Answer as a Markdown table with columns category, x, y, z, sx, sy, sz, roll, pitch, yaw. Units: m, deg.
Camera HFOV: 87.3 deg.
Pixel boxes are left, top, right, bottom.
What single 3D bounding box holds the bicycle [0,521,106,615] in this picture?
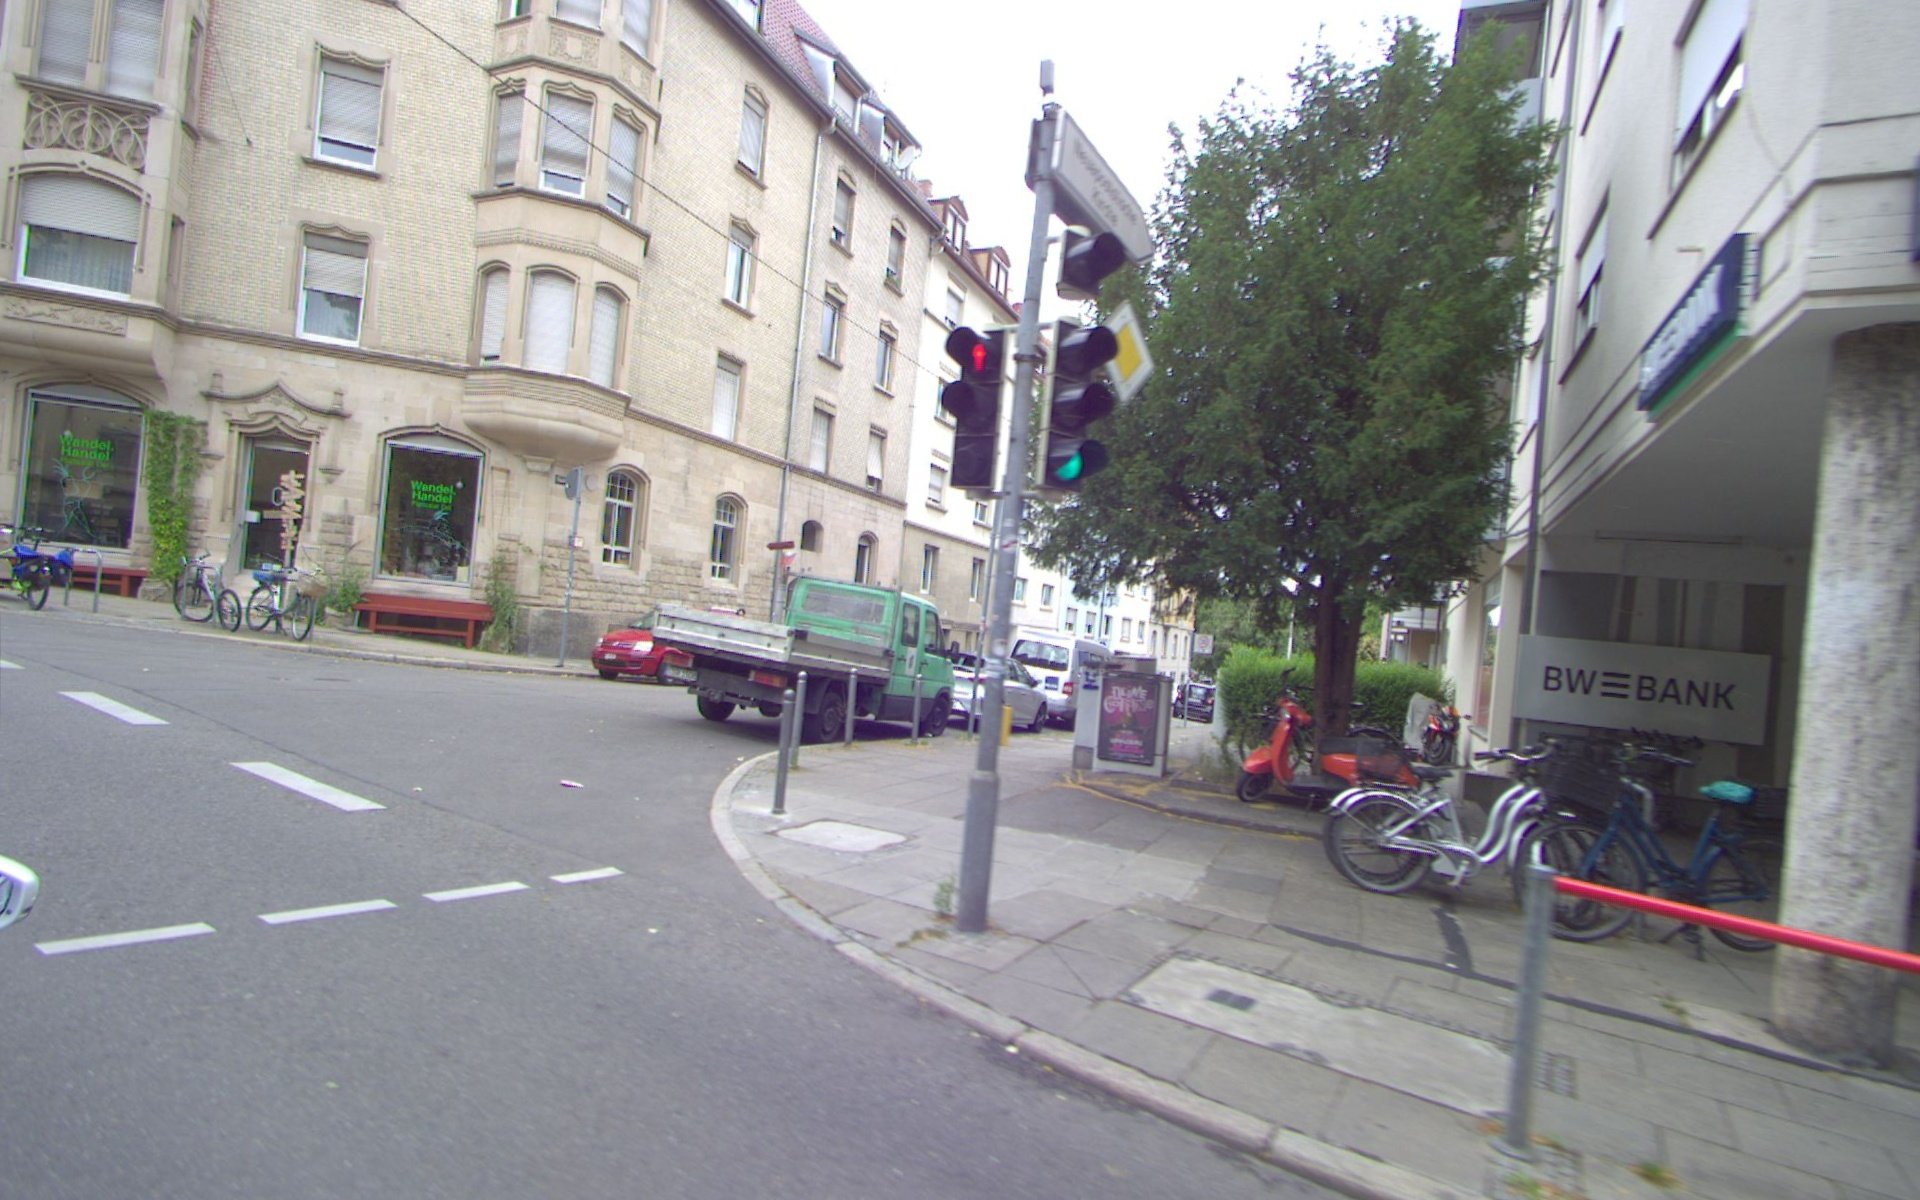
| category | x | y | z | sx | sy | sz | roll | pitch | yaw |
| --- | --- | --- | --- | --- | --- | --- | --- | --- | --- |
| bicycle | -13.543 | -0.519 | 14.546 | 2.930 | 1.143 | 0.880 | 6 | -1 | 31 |

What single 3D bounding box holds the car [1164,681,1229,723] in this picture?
| category | x | y | z | sx | sy | sz | roll | pitch | yaw |
| --- | --- | --- | --- | --- | --- | --- | --- | --- | --- |
| car | 9.999 | 4.293 | 42.300 | 1.814 | 1.423 | 3.825 | 6 | -3 | 25 |

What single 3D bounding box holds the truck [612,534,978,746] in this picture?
| category | x | y | z | sx | sy | sz | roll | pitch | yaw |
| --- | --- | --- | --- | --- | --- | --- | --- | --- | --- |
| truck | -1.936 | 0.693 | 14.220 | 2.338 | 2.156 | 5.583 | 7 | -3 | 22 |

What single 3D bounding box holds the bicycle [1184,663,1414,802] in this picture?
| category | x | y | z | sx | sy | sz | roll | pitch | yaw |
| --- | --- | --- | --- | --- | --- | --- | --- | --- | --- |
| bicycle | 3.702 | 1.435 | 11.112 | 2.283 | 1.201 | 0.278 | 7 | 0 | 13 |

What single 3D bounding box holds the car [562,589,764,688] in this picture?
| category | x | y | z | sx | sy | sz | roll | pitch | yaw |
| --- | --- | --- | --- | --- | --- | --- | --- | --- | --- |
| car | -5.596 | 0.805 | 19.346 | 1.832 | 1.499 | 3.372 | 6 | -3 | 25 |

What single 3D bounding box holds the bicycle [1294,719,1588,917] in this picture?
| category | x | y | z | sx | sy | sz | roll | pitch | yaw |
| --- | --- | --- | --- | --- | --- | --- | --- | --- | --- |
| bicycle | 3.311 | 1.489 | 7.030 | 1.727 | 1.056 | 0.319 | 7 | 0 | 14 |

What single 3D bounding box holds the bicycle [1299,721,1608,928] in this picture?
| category | x | y | z | sx | sy | sz | roll | pitch | yaw |
| --- | --- | --- | --- | --- | --- | --- | --- | --- | --- |
| bicycle | 3.241 | 1.464 | 6.724 | 1.727 | 1.056 | 0.319 | 7 | 0 | 14 |

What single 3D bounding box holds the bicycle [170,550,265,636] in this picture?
| category | x | y | z | sx | sy | sz | roll | pitch | yaw |
| --- | --- | --- | --- | --- | --- | --- | --- | --- | --- |
| bicycle | -11.263 | -0.117 | 15.238 | 1.803 | 1.070 | 0.350 | 7 | -2 | 30 |

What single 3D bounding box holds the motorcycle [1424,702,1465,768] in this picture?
| category | x | y | z | sx | sy | sz | roll | pitch | yaw |
| --- | --- | --- | --- | --- | --- | --- | --- | --- | --- |
| motorcycle | 9.412 | 2.590 | 19.586 | 0.561 | 1.126 | 1.802 | 6 | -1 | 25 |

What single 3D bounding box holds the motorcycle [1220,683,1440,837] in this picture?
| category | x | y | z | sx | sy | sz | roll | pitch | yaw |
| --- | --- | --- | --- | --- | --- | --- | --- | --- | --- |
| motorcycle | 3.463 | 1.459 | 9.485 | 1.772 | 1.119 | 0.570 | 6 | -1 | 32 |

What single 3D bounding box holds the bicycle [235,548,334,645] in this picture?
| category | x | y | z | sx | sy | sz | roll | pitch | yaw |
| --- | --- | --- | --- | --- | --- | --- | --- | --- | --- |
| bicycle | -10.583 | -0.070 | 15.736 | 1.803 | 1.177 | 0.447 | 13 | 4 | 30 |

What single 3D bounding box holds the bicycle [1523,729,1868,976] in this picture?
| category | x | y | z | sx | sy | sz | roll | pitch | yaw |
| --- | --- | --- | --- | --- | --- | --- | --- | --- | --- |
| bicycle | 4.395 | 1.499 | 6.047 | 1.728 | 1.213 | 0.319 | 7 | 0 | 0 |

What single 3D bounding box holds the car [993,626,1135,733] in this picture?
| category | x | y | z | sx | sy | sz | roll | pitch | yaw |
| --- | --- | --- | --- | --- | --- | --- | --- | --- | --- |
| car | 2.651 | 1.967 | 24.463 | 1.849 | 2.151 | 4.479 | 6 | -3 | 25 |

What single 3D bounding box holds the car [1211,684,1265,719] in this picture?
| category | x | y | z | sx | sy | sz | roll | pitch | yaw |
| --- | --- | --- | --- | --- | --- | --- | --- | --- | --- |
| car | 13.611 | 4.968 | 49.153 | 1.814 | 1.423 | 3.825 | 6 | -3 | 25 |

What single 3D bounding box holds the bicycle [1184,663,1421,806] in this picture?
| category | x | y | z | sx | sy | sz | roll | pitch | yaw |
| --- | --- | --- | --- | --- | --- | --- | --- | --- | --- |
| bicycle | 3.644 | 1.420 | 10.843 | 2.283 | 1.201 | 0.278 | 7 | 0 | 13 |

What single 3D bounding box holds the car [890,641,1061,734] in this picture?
| category | x | y | z | sx | sy | sz | roll | pitch | yaw |
| --- | --- | --- | --- | --- | --- | --- | --- | --- | --- |
| car | 0.413 | 1.737 | 19.763 | 1.814 | 1.423 | 3.824 | 6 | -3 | 26 |
